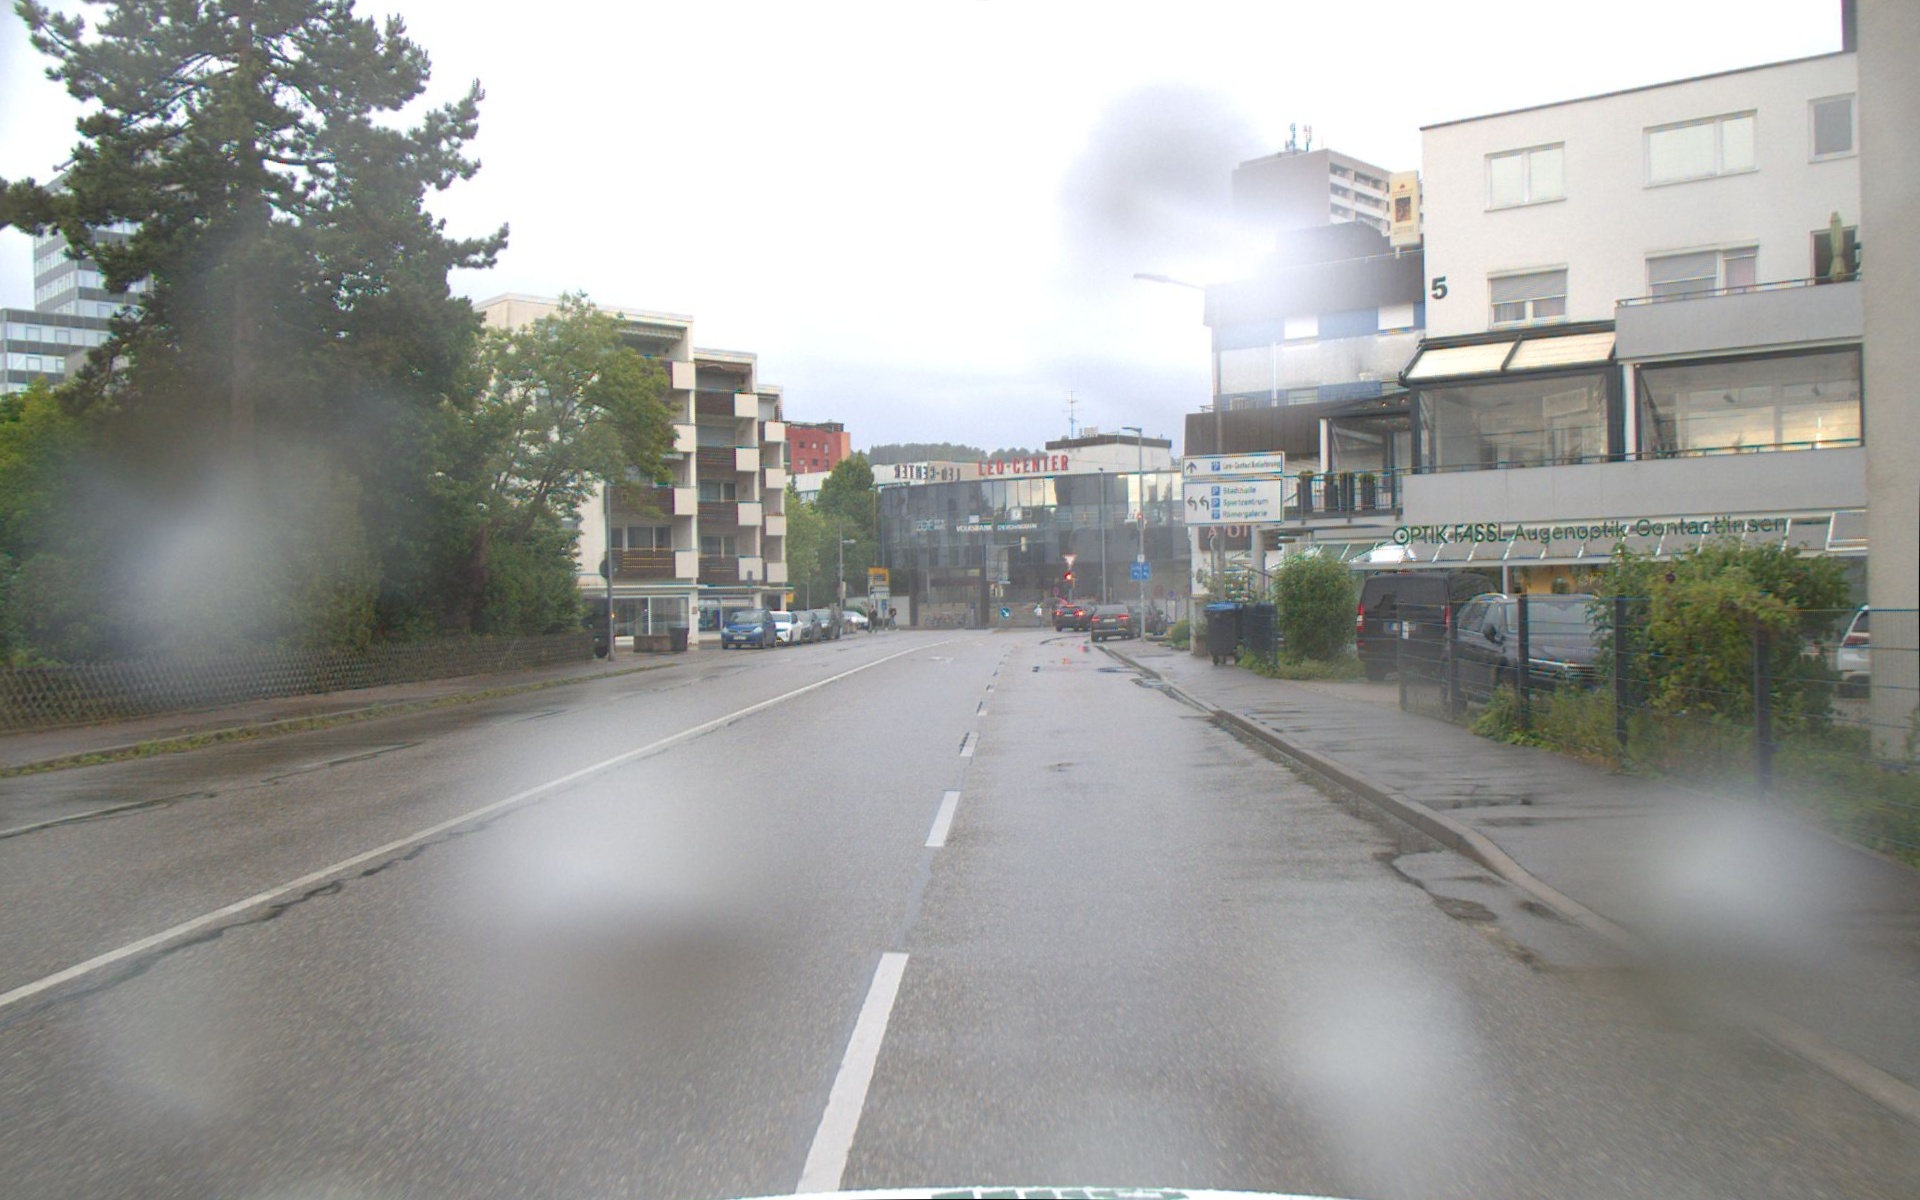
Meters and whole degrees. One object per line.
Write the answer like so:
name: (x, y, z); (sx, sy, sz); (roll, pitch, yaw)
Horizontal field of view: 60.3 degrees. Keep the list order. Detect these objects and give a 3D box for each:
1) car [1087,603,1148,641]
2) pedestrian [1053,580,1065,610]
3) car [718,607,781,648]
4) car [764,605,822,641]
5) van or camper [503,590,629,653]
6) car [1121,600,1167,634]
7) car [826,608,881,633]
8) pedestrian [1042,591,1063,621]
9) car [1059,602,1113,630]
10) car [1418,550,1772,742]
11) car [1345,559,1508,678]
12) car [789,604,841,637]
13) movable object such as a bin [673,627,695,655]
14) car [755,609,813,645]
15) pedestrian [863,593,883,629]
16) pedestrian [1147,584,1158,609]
car: (6.650, 0.944, 69.424); (1.951, 1.560, 4.650); (0, -1, 13)
pedestrian: (5.805, -0.285, 96.721); (0.597, 1.688, 0.672); (2, 1, -1)
car: (-8.321, 1.054, 65.707); (1.617, 1.547, 4.326); (-1, 0, 4)
car: (-7.708, 1.042, 76.807); (1.894, 1.569, 4.523); (-1, 0, 4)
van or camper: (-13.307, 0.682, 55.651); (1.982, 1.958, 5.141); (-2, 2, -40)
car: (8.982, 0.801, 80.530); (1.662, 1.512, 4.003); (-4, -1, 13)
car: (-7.631, 1.468, 118.101); (1.975, 1.538, 4.384); (2, 1, -33)
pedestrian: (5.380, 0.350, 95.885); (0.897, 1.688, 0.750); (2, 1, -24)
car: (6.782, 0.848, 88.915); (1.767, 1.444, 4.000); (-1, 0, 21)
car: (6.837, 0.439, 18.455); (1.954, 1.816, 4.688); (-1, 0, -3)
car: (8.819, 0.305, 30.976); (1.955, 2.049, 4.773); (-1, 0, 28)
car: (-7.222, 1.008, 82.547); (1.894, 1.569, 4.275); (-1, 0, 4)
movable object such as a bin: (-10.323, 1.529, 61.888); (0.634, 0.983, 0.683); (-2, 0, 4)
car: (-7.600, 1.143, 71.681); (1.657, 1.490, 4.686); (-1, 0, 4)
pedestrian: (-5.176, 0.663, 98.318); (0.733, 2.049, 0.920); (3, 0, 25)
pedestrian: (15.949, -0.277, 137.360); (0.771, 2.049, 0.671); (-2, -1, 14)
